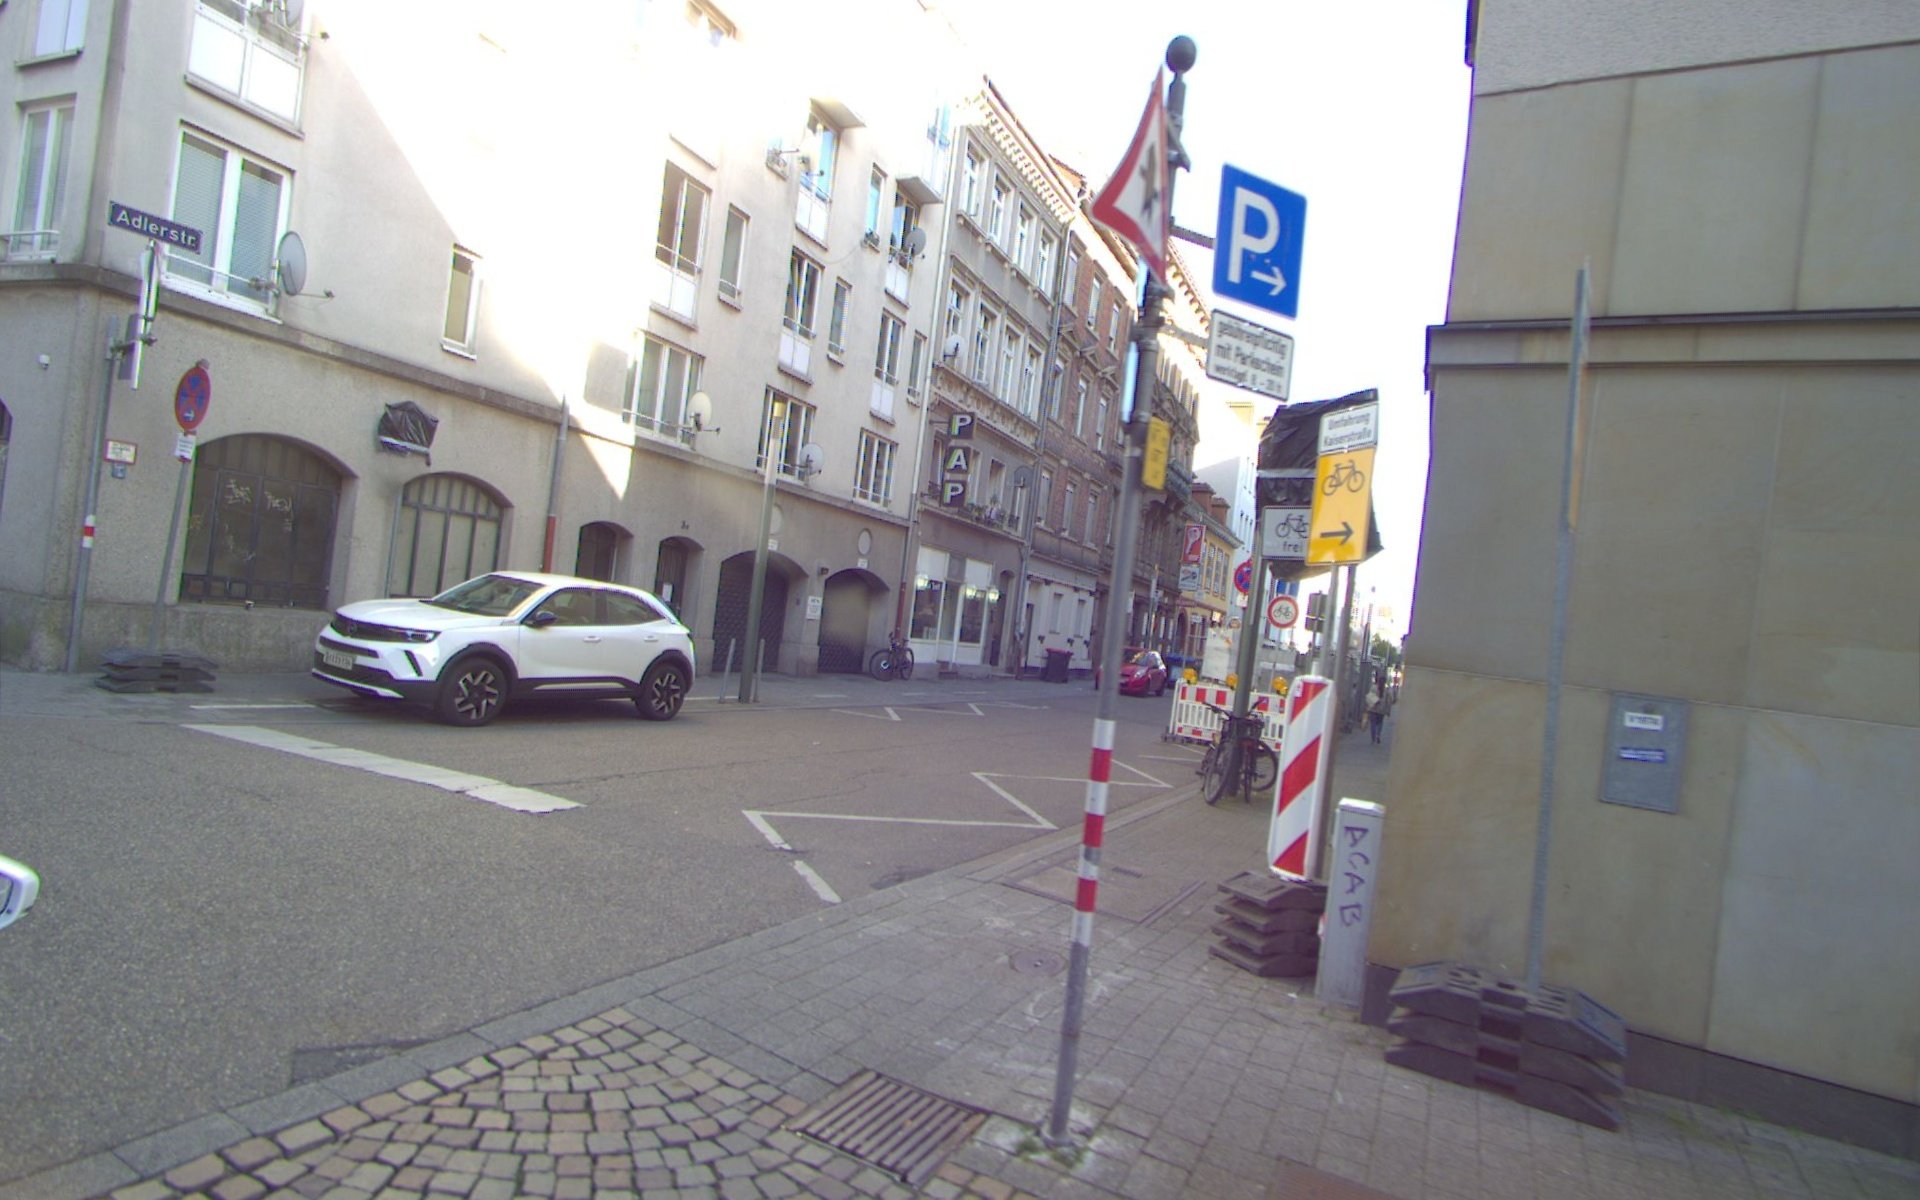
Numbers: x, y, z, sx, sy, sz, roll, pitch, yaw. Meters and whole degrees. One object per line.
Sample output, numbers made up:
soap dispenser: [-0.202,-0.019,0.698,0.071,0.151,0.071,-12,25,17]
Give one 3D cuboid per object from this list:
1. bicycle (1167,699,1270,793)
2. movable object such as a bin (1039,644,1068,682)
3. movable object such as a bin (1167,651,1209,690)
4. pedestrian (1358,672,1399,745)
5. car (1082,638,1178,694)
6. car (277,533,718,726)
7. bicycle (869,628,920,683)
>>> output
bicycle: [3.157,1.775,12.198,0.464,1.019,1.415,7,-2,44]
movable object such as a bin: [2.999,2.025,32.239,0.677,1.088,0.450,10,2,24]
movable object such as a bin: [9.417,2.915,41.525,1.034,1.407,1.998,7,-1,28]
pedestrian: [10.003,2.580,24.032,0.709,1.605,0.638,7,0,25]
car: [5.653,2.211,33.060,1.884,1.496,3.800,7,-1,28]
car: [-4.798,0.405,11.091,1.736,1.586,4.079,7,-1,28]
bicycle: [-1.480,1.288,23.089,0.424,1.158,1.592,7,-1,20]
